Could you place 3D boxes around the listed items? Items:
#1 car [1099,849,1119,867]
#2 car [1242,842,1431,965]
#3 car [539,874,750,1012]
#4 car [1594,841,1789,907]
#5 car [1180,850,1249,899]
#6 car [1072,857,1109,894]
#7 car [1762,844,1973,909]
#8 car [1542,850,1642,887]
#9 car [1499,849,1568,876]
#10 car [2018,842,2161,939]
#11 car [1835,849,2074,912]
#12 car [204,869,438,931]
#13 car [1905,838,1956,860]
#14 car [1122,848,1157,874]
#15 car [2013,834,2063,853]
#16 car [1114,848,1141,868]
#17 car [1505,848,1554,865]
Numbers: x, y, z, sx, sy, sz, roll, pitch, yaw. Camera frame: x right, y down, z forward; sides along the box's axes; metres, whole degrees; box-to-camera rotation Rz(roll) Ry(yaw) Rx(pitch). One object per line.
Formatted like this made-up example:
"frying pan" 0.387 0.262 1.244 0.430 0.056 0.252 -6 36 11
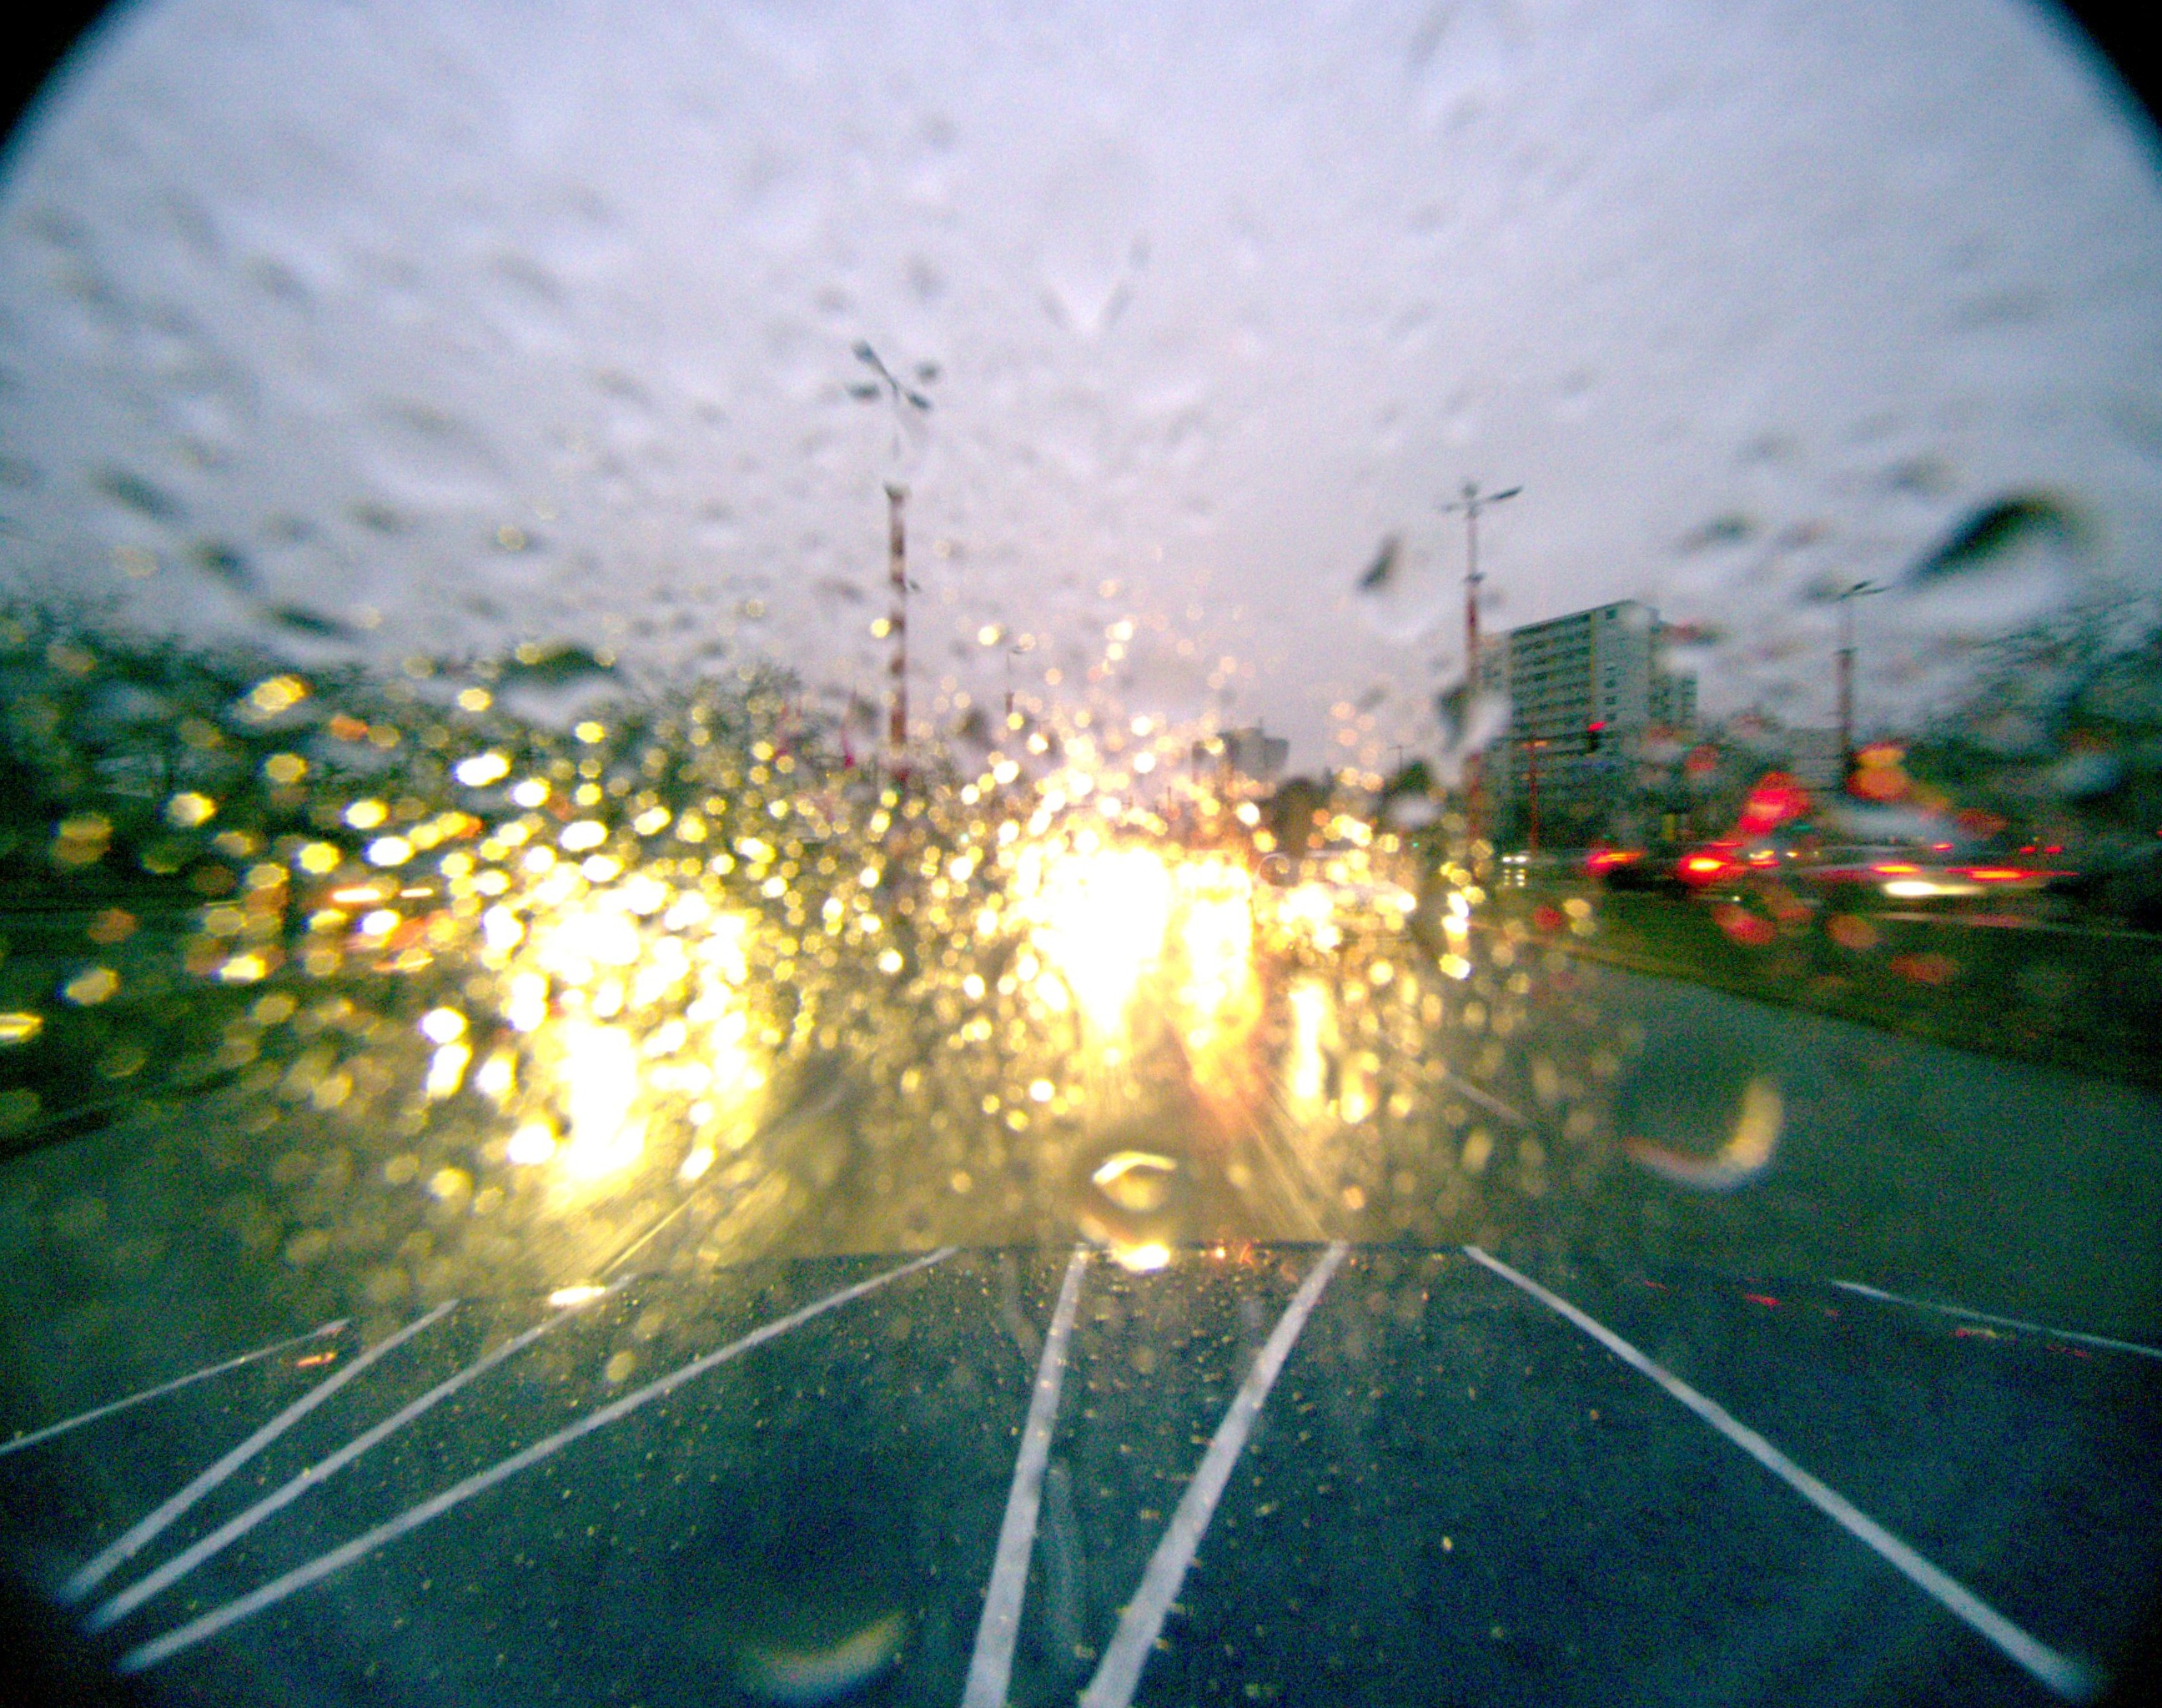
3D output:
"car" 2.963 0.385 79.739 1.998 1.652 3.999 -2 1 2
"car" 3.875 0.644 12.265 1.718 1.638 4.147 -1 1 1
"car" -6.395 1.046 10.827 1.886 1.368 4.741 -1 1 -39
"car" 16.069 0.479 20.317 1.862 1.572 4.078 -1 0 -2
"car" 4.668 0.664 27.178 1.694 1.530 4.189 -2 1 0
"car" 0.450 0.992 36.816 1.679 1.590 4.044 -1 1 0
"car" 18.721 0.494 18.313 1.656 1.412 3.326 -1 0 1
"car" 22.458 0.599 33.599 1.774 1.544 3.947 -1 0 0
"car" 26.097 0.462 43.946 1.622 1.486 4.016 -1 0 0
"car" 18.493 0.586 12.107 1.861 1.589 4.287 -1 0 1
"car" 21.952 0.603 19.364 1.625 1.418 3.909 -1 0 1
"car" -17.374 1.021 17.464 3.995 1.302 1.638 0 1 6
"car" 61.746 -0.392 55.233 4.606 1.521 1.995 -1 1 -36
"car" 3.728 0.438 49.239 1.952 1.590 4.124 -1 1 0
"car" 80.305 -0.889 63.747 4.492 1.521 1.995 -1 1 -31
"car" 3.800 0.310 62.617 1.952 1.590 4.124 -1 1 0
"car" 42.454 0.189 71.869 4.446 1.535 1.848 -1 1 -25
